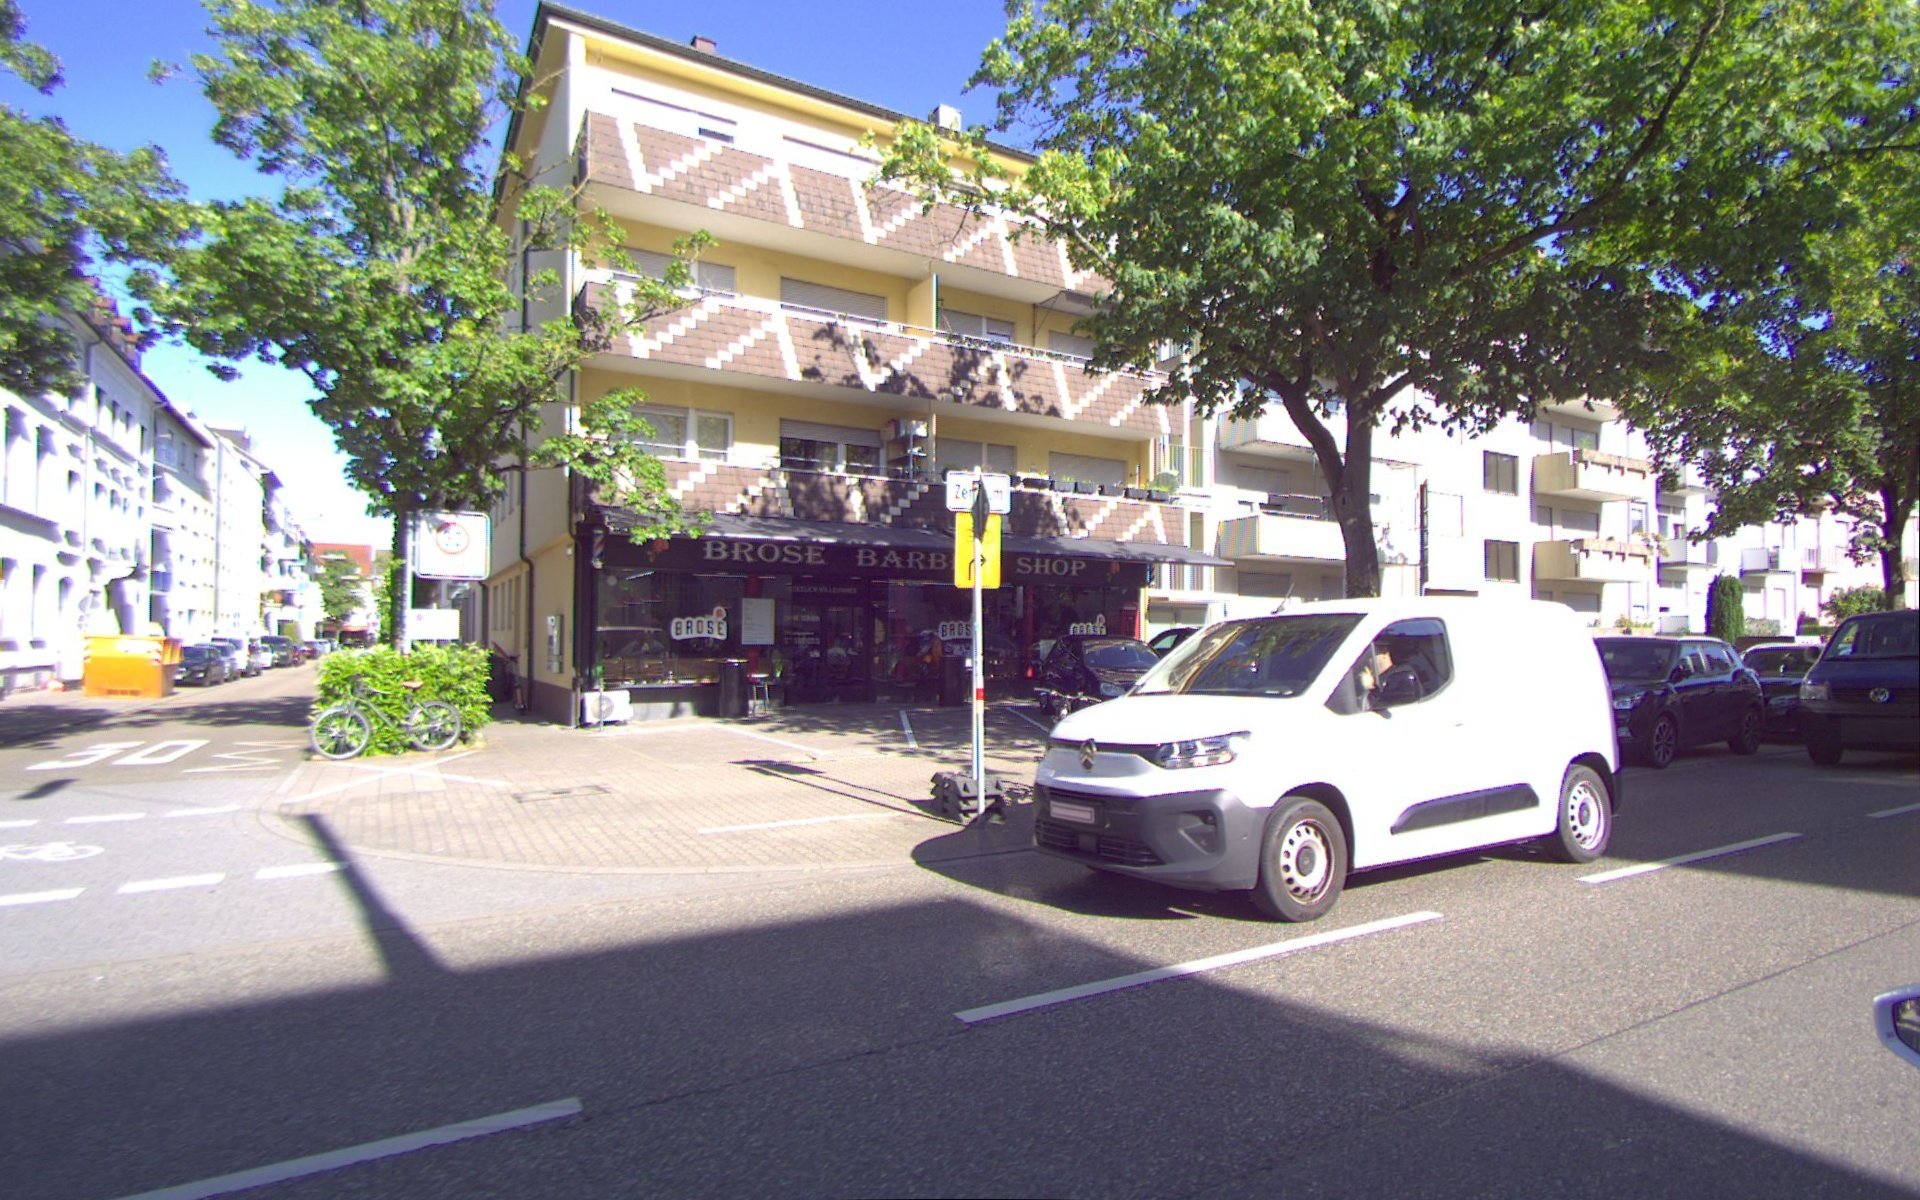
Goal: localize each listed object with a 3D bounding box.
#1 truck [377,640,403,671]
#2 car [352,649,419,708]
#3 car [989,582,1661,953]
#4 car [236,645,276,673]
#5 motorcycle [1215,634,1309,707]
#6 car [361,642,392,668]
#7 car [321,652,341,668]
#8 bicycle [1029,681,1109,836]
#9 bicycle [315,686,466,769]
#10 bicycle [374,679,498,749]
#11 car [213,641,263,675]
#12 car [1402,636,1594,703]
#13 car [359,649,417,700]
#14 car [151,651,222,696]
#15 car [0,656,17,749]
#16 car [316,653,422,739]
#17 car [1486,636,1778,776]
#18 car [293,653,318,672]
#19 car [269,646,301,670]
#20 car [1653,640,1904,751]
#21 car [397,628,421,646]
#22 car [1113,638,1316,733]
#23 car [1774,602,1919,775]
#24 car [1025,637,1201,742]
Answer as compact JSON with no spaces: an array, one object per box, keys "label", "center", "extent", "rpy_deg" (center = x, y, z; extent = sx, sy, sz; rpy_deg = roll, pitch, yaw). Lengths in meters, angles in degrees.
[{"label":"truck","center":[-47.617,4.619,83.964],"extent":[1.851,2.451,3.634],"rpy_deg":[0,-2,-30]},{"label":"car","center":[-15.537,2.075,27.208],"extent":[1.475,1.461,3.634],"rpy_deg":[0,-2,-30]},{"label":"car","center":[2.557,0.901,6.746],"extent":[4.441,1.765,1.807],"rpy_deg":[1,-5,-31]},{"label":"car","center":[-40.789,3.409,58.244],"extent":[1.463,1.565,3.766],"rpy_deg":[3,-4,-29]},{"label":"motorcycle","center":[6.608,1.506,22.133],"extent":[0.770,1.506,2.145],"rpy_deg":[0,-1,-24]},{"label":"car","center":[-33.756,3.177,58.166],"extent":[1.475,1.444,3.634],"rpy_deg":[0,-2,-30]},{"label":"car","center":[-63.425,6.083,101.333],"extent":[1.463,1.565,3.766],"rpy_deg":[3,-4,-29]},{"label":"bicycle","center":[0.957,1.380,9.209],"extent":[0.453,1.150,1.936],"rpy_deg":[0,-1,-2]},{"label":"bicycle","center":[-7.654,1.702,13.566],"extent":[1.734,0.972,0.402],"rpy_deg":[-1,-2,-24]},{"label":"bicycle","center":[-8.408,1.818,16.188],"extent":[1.734,0.993,0.402],"rpy_deg":[-1,-2,-24]},{"label":"car","center":[-34.284,2.755,47.756],"extent":[1.463,1.565,3.766],"rpy_deg":[3,-4,-29]},{"label":"car","center":[13.626,1.702,25.682],"extent":[1.859,1.506,3.968],"rpy_deg":[0,-1,-30]},{"label":"car","center":[-17.935,2.303,31.530],"extent":[1.475,1.461,3.634],"rpy_deg":[0,-2,-30]},{"label":"car","center":[-28.466,2.674,37.064],"extent":[1.463,1.565,3.766],"rpy_deg":[3,-4,-29]},{"label":"car","center":[-15.677,1.576,14.824],"extent":[1.627,1.507,3.766],"rpy_deg":[3,-4,-29]},{"label":"car","center":[-11.525,1.793,19.706],"extent":[1.627,1.461,3.970],"rpy_deg":[0,-2,-30]},{"label":"car","center":[9.167,1.317,13.646],"extent":[4.088,1.617,1.714],"rpy_deg":[1,-1,-30]},{"label":"car","center":[-55.450,5.254,85.189],"extent":[1.463,1.565,3.766],"rpy_deg":[3,-4,-29]},{"label":"car","center":[-45.421,3.882,67.647],"extent":[1.463,1.565,3.766],"rpy_deg":[3,-4,-29]},{"label":"car","center":[13.510,1.467,16.517],"extent":[4.625,1.556,1.714],"rpy_deg":[1,-1,-31]},{"label":"car","center":[-40.557,2.744,73.865],"extent":[1.475,1.282,3.634],"rpy_deg":[0,-2,-30]},{"label":"car","center":[4.573,1.488,18.668],"extent":[1.707,1.480,3.981],"rpy_deg":[0,-1,-21]},{"label":"car","center":[12.598,1.063,12.849],"extent":[4.657,1.935,1.795],"rpy_deg":[1,-5,-31]},{"label":"car","center":[2.444,1.412,17.092],"extent":[1.702,1.475,3.992],"rpy_deg":[0,-1,-11]}]
